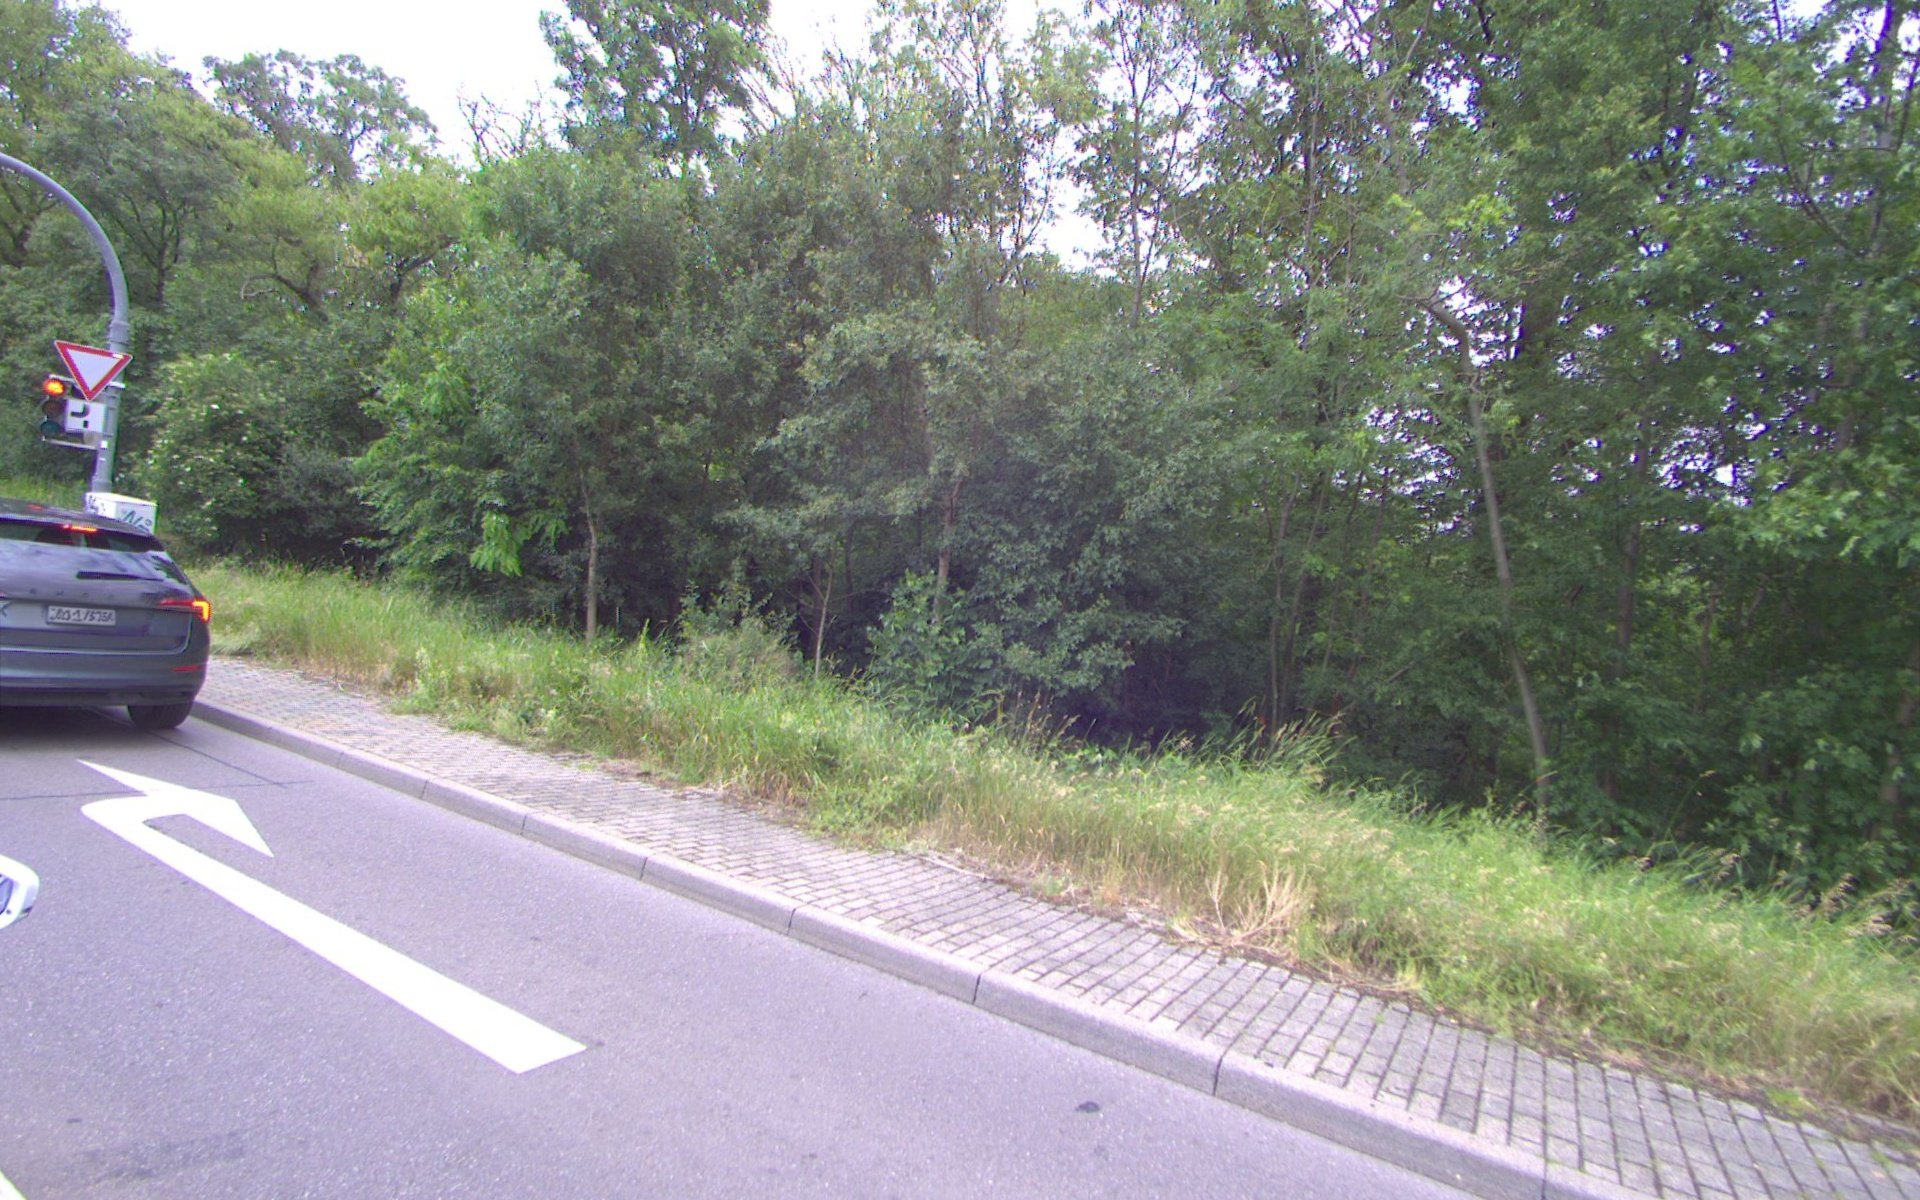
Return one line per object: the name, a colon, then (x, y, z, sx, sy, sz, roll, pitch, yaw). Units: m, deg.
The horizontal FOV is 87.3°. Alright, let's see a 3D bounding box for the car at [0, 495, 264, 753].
car: (-6.950, -0.022, 7.088, 3.933, 1.468, 1.796, 7, -1, 31)
